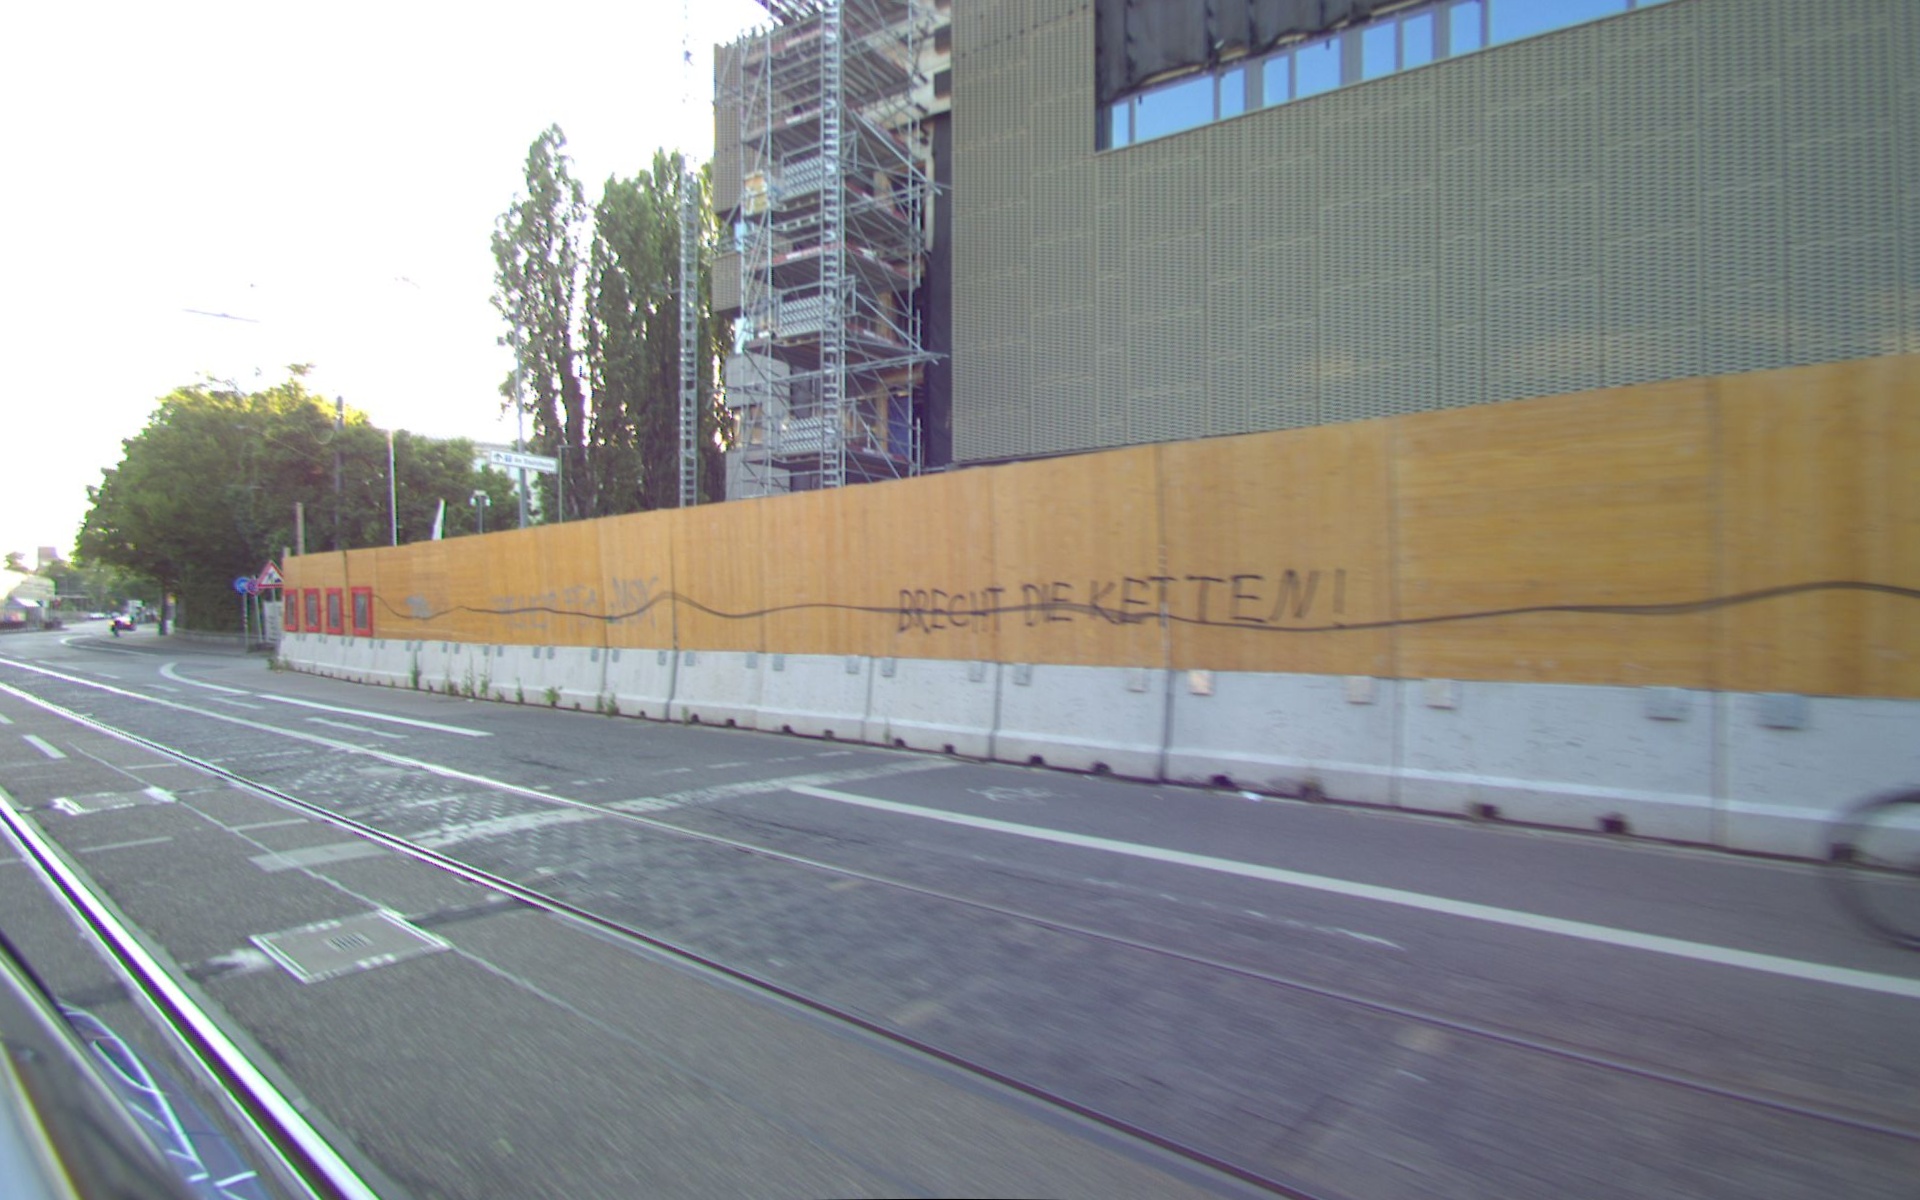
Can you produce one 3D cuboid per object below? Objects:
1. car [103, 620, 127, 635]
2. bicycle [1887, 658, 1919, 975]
[{"bbox_3d":[-94.788,3.103,113.530,1.968,1.697,4.007,1,-2,-39],"label":"car"},{"bbox_3d":[4.754,0.865,3.725,1.935,1.237,0.760,-1,-2,41],"label":"bicycle"}]
